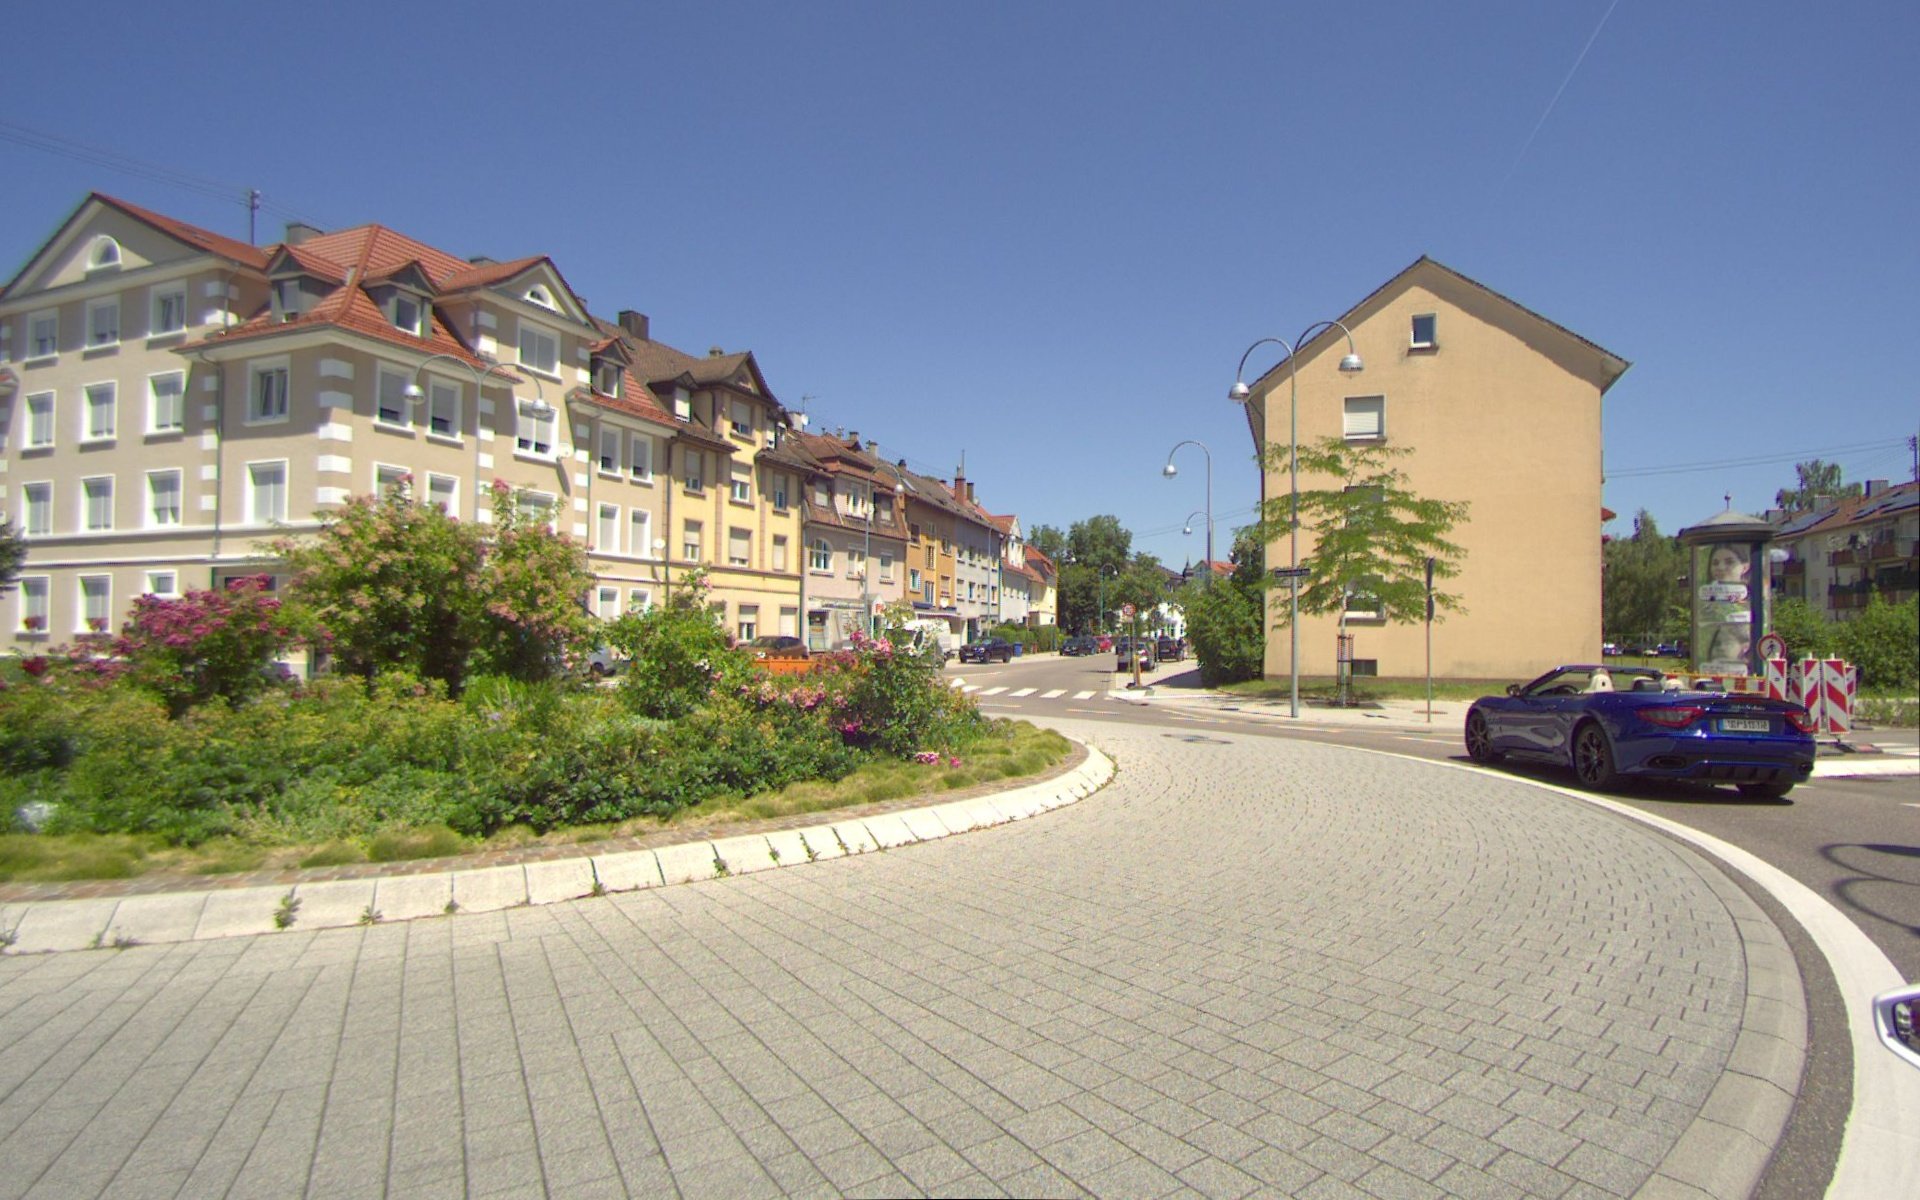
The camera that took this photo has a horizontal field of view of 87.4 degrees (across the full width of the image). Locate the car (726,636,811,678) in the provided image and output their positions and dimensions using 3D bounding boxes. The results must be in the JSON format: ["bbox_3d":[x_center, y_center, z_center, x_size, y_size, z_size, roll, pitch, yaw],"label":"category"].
[{"bbox_3d":[-8.196,2.421,43.332,1.573,1.638,4.090,2,-1,23],"label":"car"}]

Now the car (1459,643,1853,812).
[{"bbox_3d":[7.666,1.346,11.743,1.839,1.549,4.511,1,-4,6],"label":"car"}]

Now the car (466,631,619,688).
[{"bbox_3d":[-13.406,1.883,32.594,1.747,1.708,4.693,0,-2,22],"label":"car"}]

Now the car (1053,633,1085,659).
[{"bbox_3d":[8.864,3.730,81.567,2.032,2.040,4.003,0,-3,15],"label":"car"}]

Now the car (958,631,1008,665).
[{"bbox_3d":[1.463,2.942,62.067,2.033,2.040,4.002,0,-3,17],"label":"car"}]

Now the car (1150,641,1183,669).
[{"bbox_3d":[14.145,3.723,68.584,1.782,1.817,4.002,2,-2,17],"label":"car"}]

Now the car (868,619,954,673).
[{"bbox_3d":[-2.427,2.354,52.149,2.109,2.566,6.238,2,-2,20],"label":"car"}]
